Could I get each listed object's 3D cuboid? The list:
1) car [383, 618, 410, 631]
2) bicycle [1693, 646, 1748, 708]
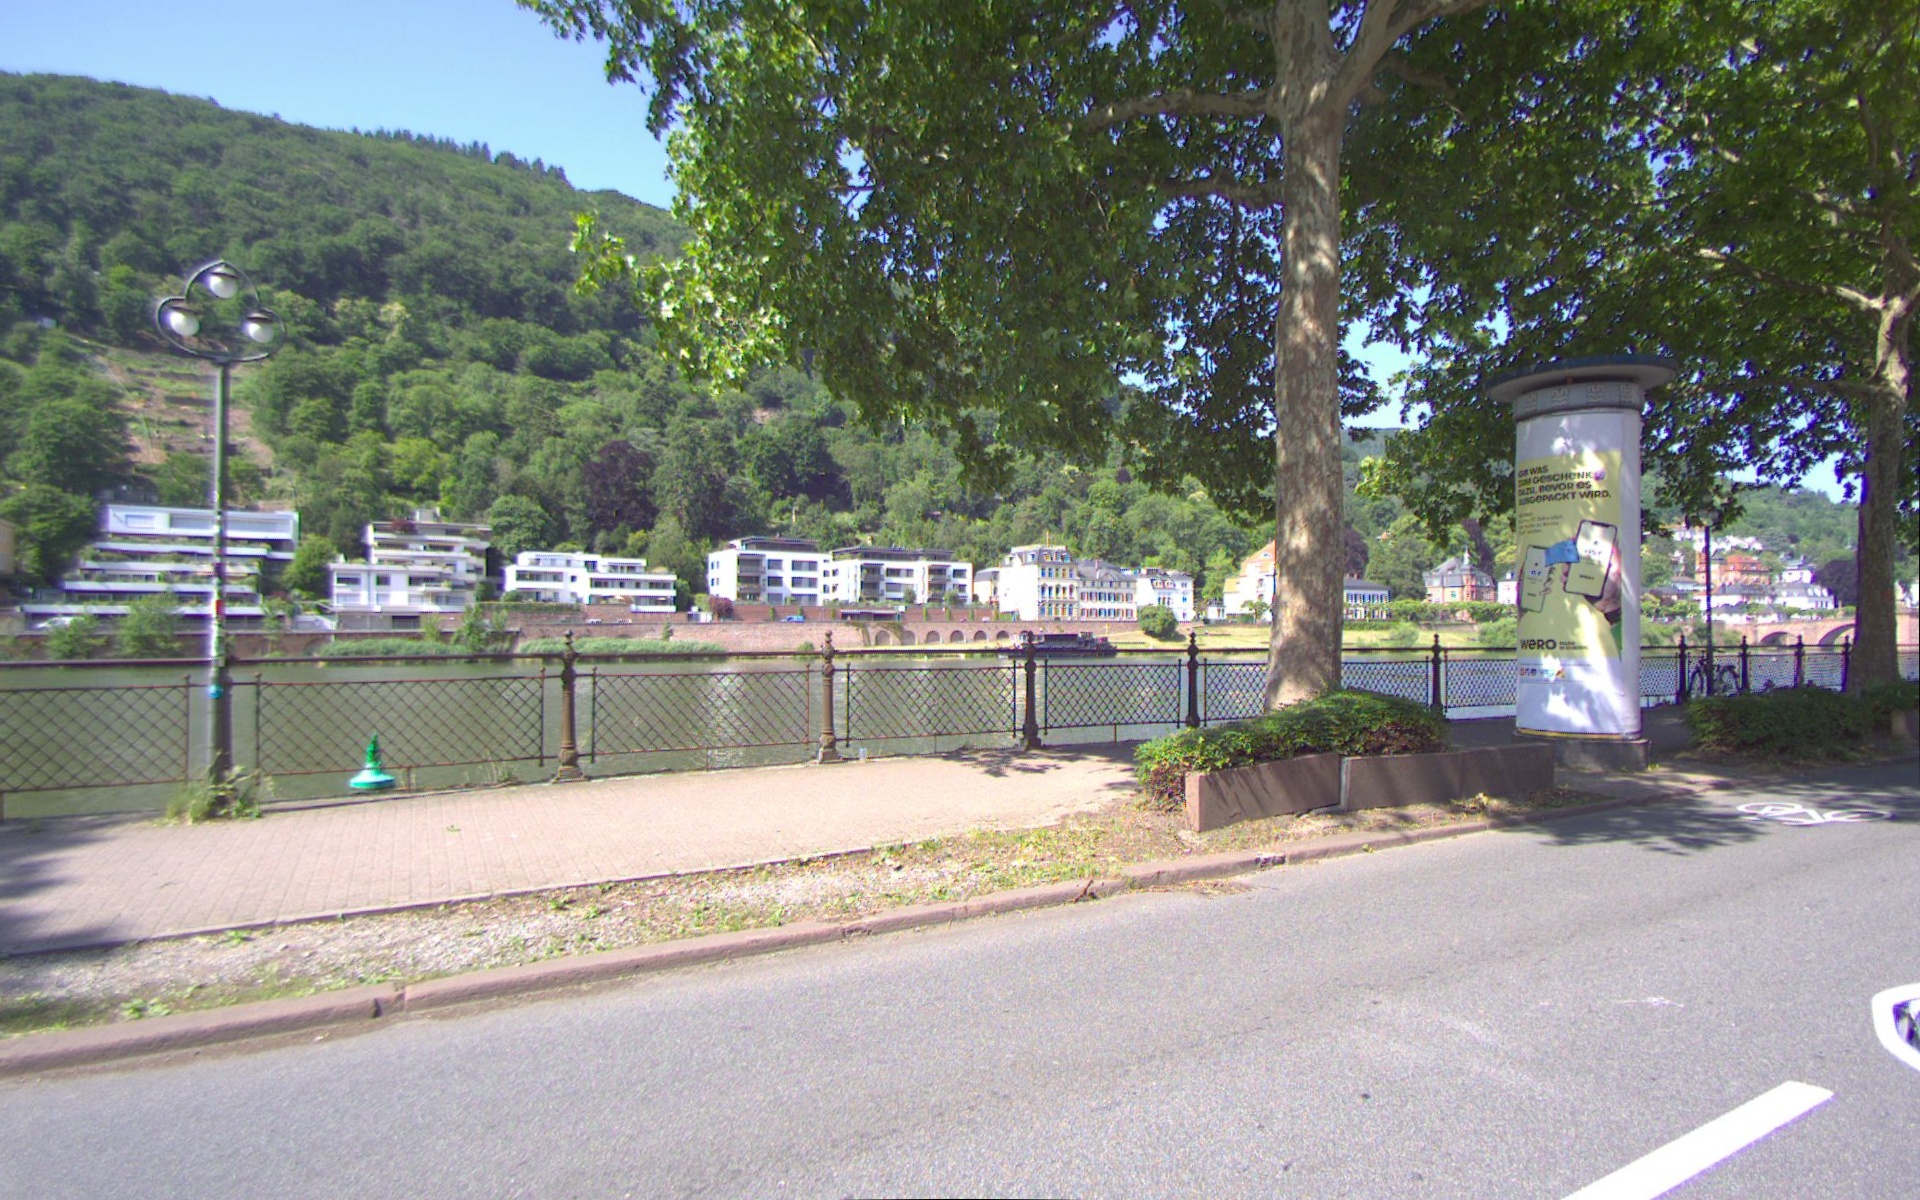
[{"bbox_3d":[-95.473,4.078,170.067,3.953,2.041,1.984,0,1,-30],"label":"car"},{"bbox_3d":[14.363,1.441,18.962,1.281,1.106,0.357,1,2,-31],"label":"bicycle"}]
